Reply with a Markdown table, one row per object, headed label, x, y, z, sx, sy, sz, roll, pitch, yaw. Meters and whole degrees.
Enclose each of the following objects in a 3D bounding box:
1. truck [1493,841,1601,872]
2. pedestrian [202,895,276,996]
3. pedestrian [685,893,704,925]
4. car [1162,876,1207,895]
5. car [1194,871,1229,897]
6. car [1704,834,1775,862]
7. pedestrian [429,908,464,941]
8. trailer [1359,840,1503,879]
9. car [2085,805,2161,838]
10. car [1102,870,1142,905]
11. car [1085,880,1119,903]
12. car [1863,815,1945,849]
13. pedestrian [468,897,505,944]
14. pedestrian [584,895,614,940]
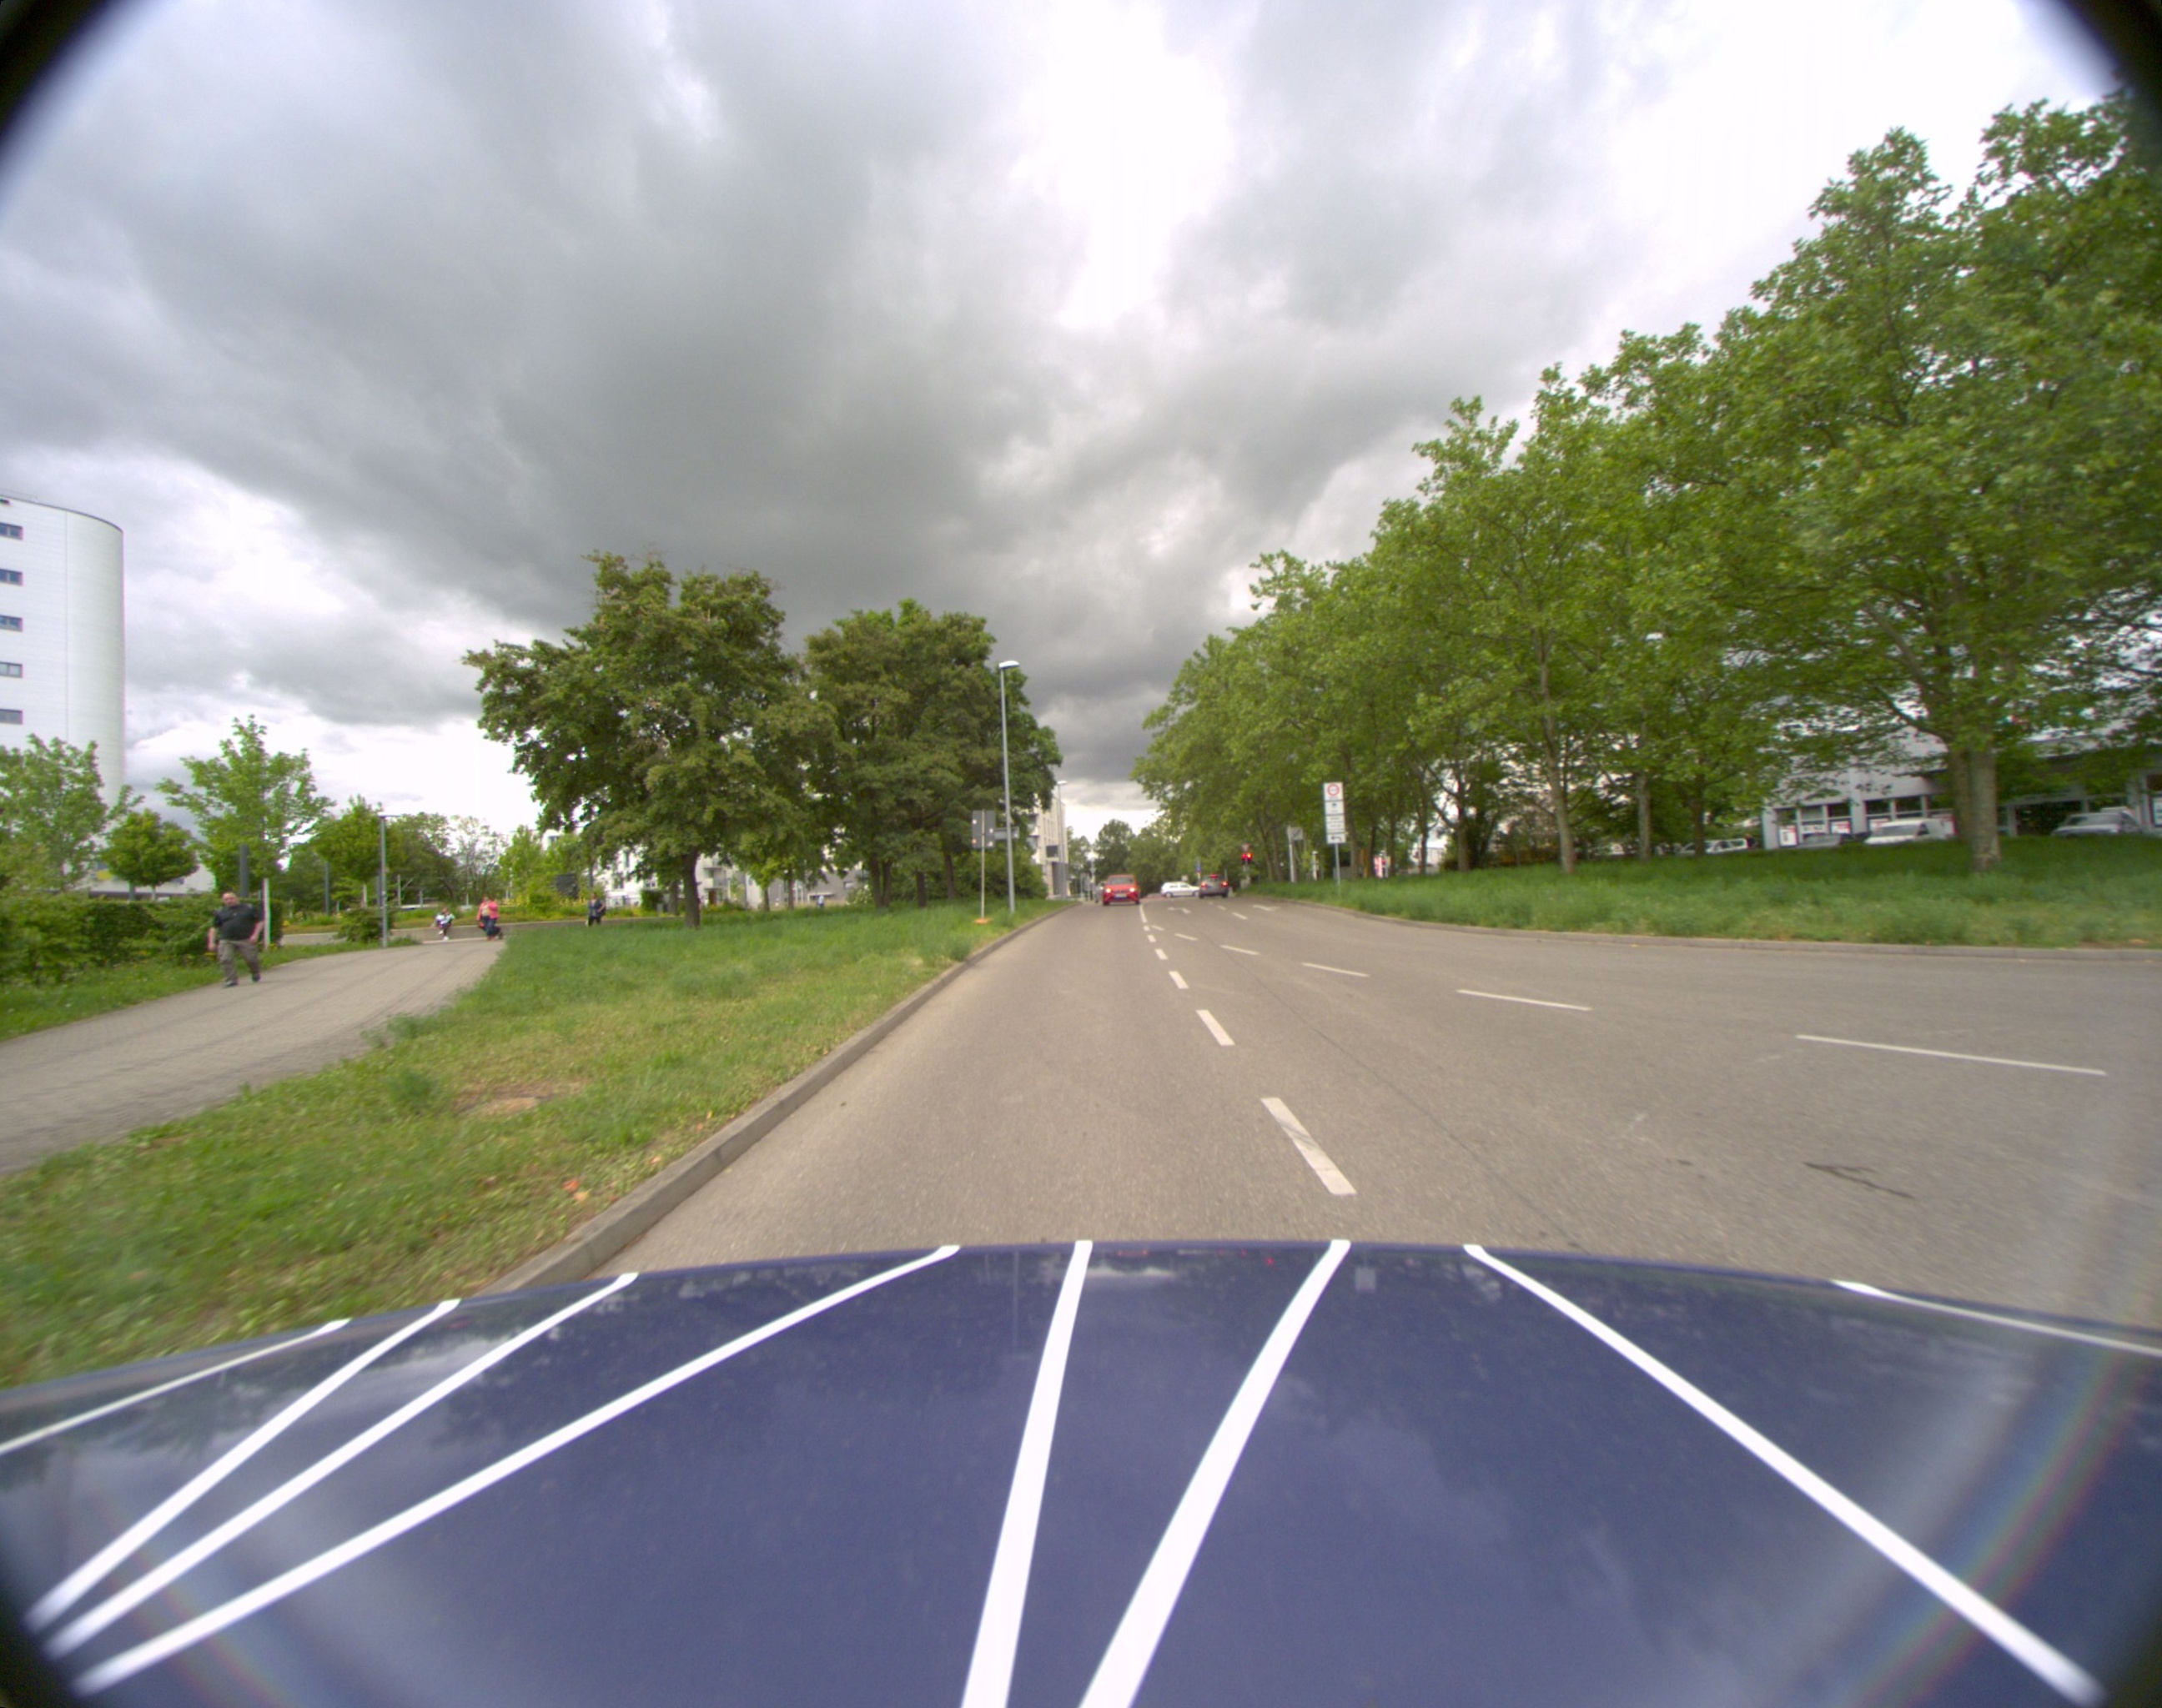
| label | x | y | z | sx | sy | sz | roll | pitch | yaw |
| --- | --- | --- | --- | --- | --- | --- | --- | --- | --- |
| truck | 39.473 | 0.238 | 64.506 | 7.514 | 2.200 | 2.083 | -3 | 0 | 7 |
| pedestrian | -14.448 | 1.540 | 13.055 | 0.639 | 1.634 | 0.602 | -3 | 0 | -31 |
| pedestrian | -17.602 | 2.492 | 34.602 | 0.676 | 1.406 | 0.666 | -3 | 0 | -23 |
| car | 9.411 | 2.859 | 69.165 | 3.916 | 1.423 | 1.610 | -3 | 0 | 7 |
| car | 8.774 | 1.979 | 51.325 | 1.758 | 1.506 | 4.001 | -3 | 0 | 3 |
| car | 38.058 | -0.356 | 43.887 | 4.005 | 1.455 | 1.651 | -3 | 0 | -27 |
| pedestrian | -23.321 | 2.596 | 27.945 | 0.676 | 1.134 | 0.667 | -3 | 0 | -6 |
| trailer | 30.110 | 0.513 | 65.640 | 11.074 | 2.789 | 2.083 | -3 | 0 | 7 |
| car | 51.834 | -1.638 | 37.743 | 4.005 | 1.455 | 1.651 | -3 | 0 | -27 |
| car | 1.990 | 1.625 | 36.620 | 1.758 | 1.506 | 4.003 | -3 | -2 | 3 |
| car | 1.515 | 2.740 | 56.472 | 1.827 | 1.477 | 3.997 | -3 | 0 | -9 |
| car | 40.216 | -1.087 | 37.105 | 4.005 | 1.455 | 1.651 | -3 | 0 | -27 |
| pedestrian | -20.182 | 2.236 | 25.790 | 0.676 | 1.498 | 0.667 | -3 | 0 | -6 |
| pedestrian | -17.947 | 2.370 | 28.302 | 0.676 | 1.597 | 0.667 | -3 | 0 | -6 |
